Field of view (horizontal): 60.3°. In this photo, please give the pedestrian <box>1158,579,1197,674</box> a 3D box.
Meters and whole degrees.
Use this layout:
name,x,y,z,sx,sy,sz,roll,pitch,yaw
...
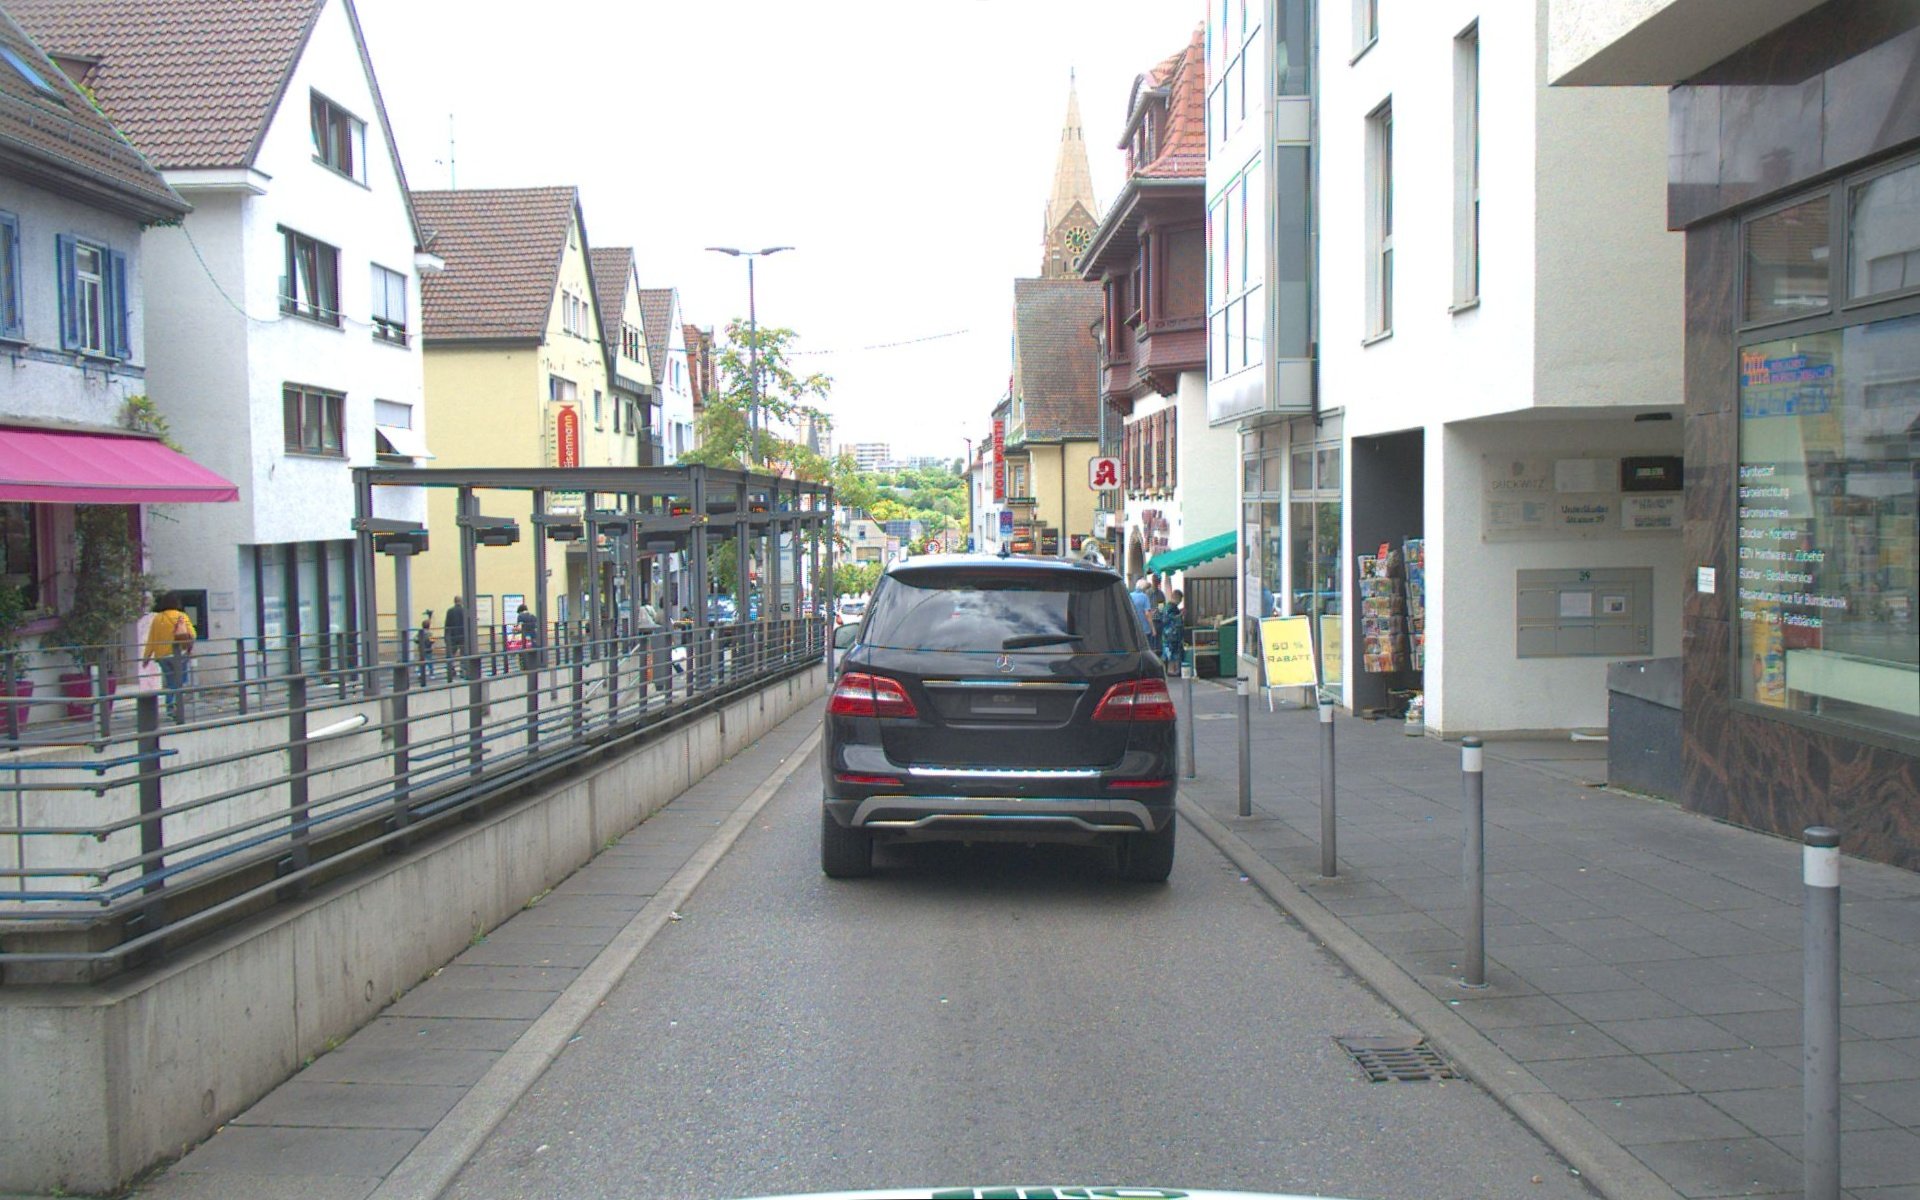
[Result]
name,x,y,z,sx,sy,sz,roll,pitch,yaw
pedestrian,3.962,0.479,30.177,0.562,1.718,0.565,-1,0,-7

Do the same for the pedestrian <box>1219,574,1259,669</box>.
name,x,y,z,sx,sy,sz,roll,pitch,yaw
pedestrian,5.122,0.392,30.396,0.562,1.718,0.565,-1,0,-7

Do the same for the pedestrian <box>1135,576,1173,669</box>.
name,x,y,z,sx,sy,sz,roll,pitch,yaw
pedestrian,3.650,0.418,31.117,0.562,1.718,0.565,1,0,-7

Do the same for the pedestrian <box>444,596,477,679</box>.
name,x,y,z,sx,sy,sz,roll,pitch,yaw
pedestrian,-10.478,0.784,34.698,0.601,1.718,0.561,1,0,-16

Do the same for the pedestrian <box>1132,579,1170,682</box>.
name,x,y,z,sx,sy,sz,roll,pitch,yaw
pedestrian,3.316,0.525,28.743,0.532,1.756,0.527,-1,0,-7

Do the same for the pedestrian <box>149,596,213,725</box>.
name,x,y,z,sx,sy,sz,roll,pitch,yaw
pedestrian,-10.526,0.805,22.366,0.566,1.718,0.576,1,0,-2

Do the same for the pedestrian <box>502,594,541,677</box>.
name,x,y,z,sx,sy,sz,roll,pitch,yaw
pedestrian,-9.193,0.735,34.715,0.613,1.718,0.679,1,0,-2

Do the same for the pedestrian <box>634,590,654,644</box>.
name,x,y,z,sx,sy,sz,roll,pitch,yaw
pedestrian,-10.143,0.557,53.116,0.502,1.718,0.541,1,0,-2

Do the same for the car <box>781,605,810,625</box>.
name,x,y,z,sx,sy,sz,roll,pitch,yaw
car,-9.439,0.847,95.090,1.360,1.089,3.112,-1,0,-1

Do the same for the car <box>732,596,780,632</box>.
name,x,y,z,sx,sy,sz,roll,pitch,yaw
car,-8.907,0.607,72.451,1.627,1.516,3.747,1,0,-1

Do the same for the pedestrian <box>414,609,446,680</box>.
name,x,y,z,sx,sy,sz,roll,pitch,yaw
pedestrian,-10.921,0.905,34.095,0.447,1.446,0.533,1,0,1

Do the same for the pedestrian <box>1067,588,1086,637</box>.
name,x,y,z,sx,sy,sz,roll,pitch,yaw
pedestrian,4.110,0.449,58.431,0.594,1.718,0.724,-1,0,-2

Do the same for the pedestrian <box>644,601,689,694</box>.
name,x,y,z,sx,sy,sz,roll,pitch,yaw
pedestrian,-5.517,0.891,31.075,0.753,1.718,0.724,1,0,-16

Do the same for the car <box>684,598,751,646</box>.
name,x,y,z,sx,sy,sz,roll,pitch,yaw
car,-8.061,0.711,55.242,1.655,1.516,3.978,1,0,-1

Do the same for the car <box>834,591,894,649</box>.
name,x,y,z,sx,sy,sz,roll,pitch,yaw
car,-3.014,0.601,52.461,1.734,1.743,3.999,1,0,-1

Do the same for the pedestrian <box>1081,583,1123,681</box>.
name,x,y,z,sx,sy,sz,roll,pitch,yaw
pedestrian,2.502,0.561,29.261,0.609,1.718,0.565,1,0,-7

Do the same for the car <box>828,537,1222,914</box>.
name,x,y,z,sx,sy,sz,roll,pitch,yaw
car,0.225,0.603,9.914,1.862,1.777,3.998,1,0,-3

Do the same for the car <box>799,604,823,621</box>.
name,x,y,z,sx,sy,sz,roll,pitch,yaw
car,-10.078,0.855,112.274,1.360,1.089,3.112,-1,0,-1
